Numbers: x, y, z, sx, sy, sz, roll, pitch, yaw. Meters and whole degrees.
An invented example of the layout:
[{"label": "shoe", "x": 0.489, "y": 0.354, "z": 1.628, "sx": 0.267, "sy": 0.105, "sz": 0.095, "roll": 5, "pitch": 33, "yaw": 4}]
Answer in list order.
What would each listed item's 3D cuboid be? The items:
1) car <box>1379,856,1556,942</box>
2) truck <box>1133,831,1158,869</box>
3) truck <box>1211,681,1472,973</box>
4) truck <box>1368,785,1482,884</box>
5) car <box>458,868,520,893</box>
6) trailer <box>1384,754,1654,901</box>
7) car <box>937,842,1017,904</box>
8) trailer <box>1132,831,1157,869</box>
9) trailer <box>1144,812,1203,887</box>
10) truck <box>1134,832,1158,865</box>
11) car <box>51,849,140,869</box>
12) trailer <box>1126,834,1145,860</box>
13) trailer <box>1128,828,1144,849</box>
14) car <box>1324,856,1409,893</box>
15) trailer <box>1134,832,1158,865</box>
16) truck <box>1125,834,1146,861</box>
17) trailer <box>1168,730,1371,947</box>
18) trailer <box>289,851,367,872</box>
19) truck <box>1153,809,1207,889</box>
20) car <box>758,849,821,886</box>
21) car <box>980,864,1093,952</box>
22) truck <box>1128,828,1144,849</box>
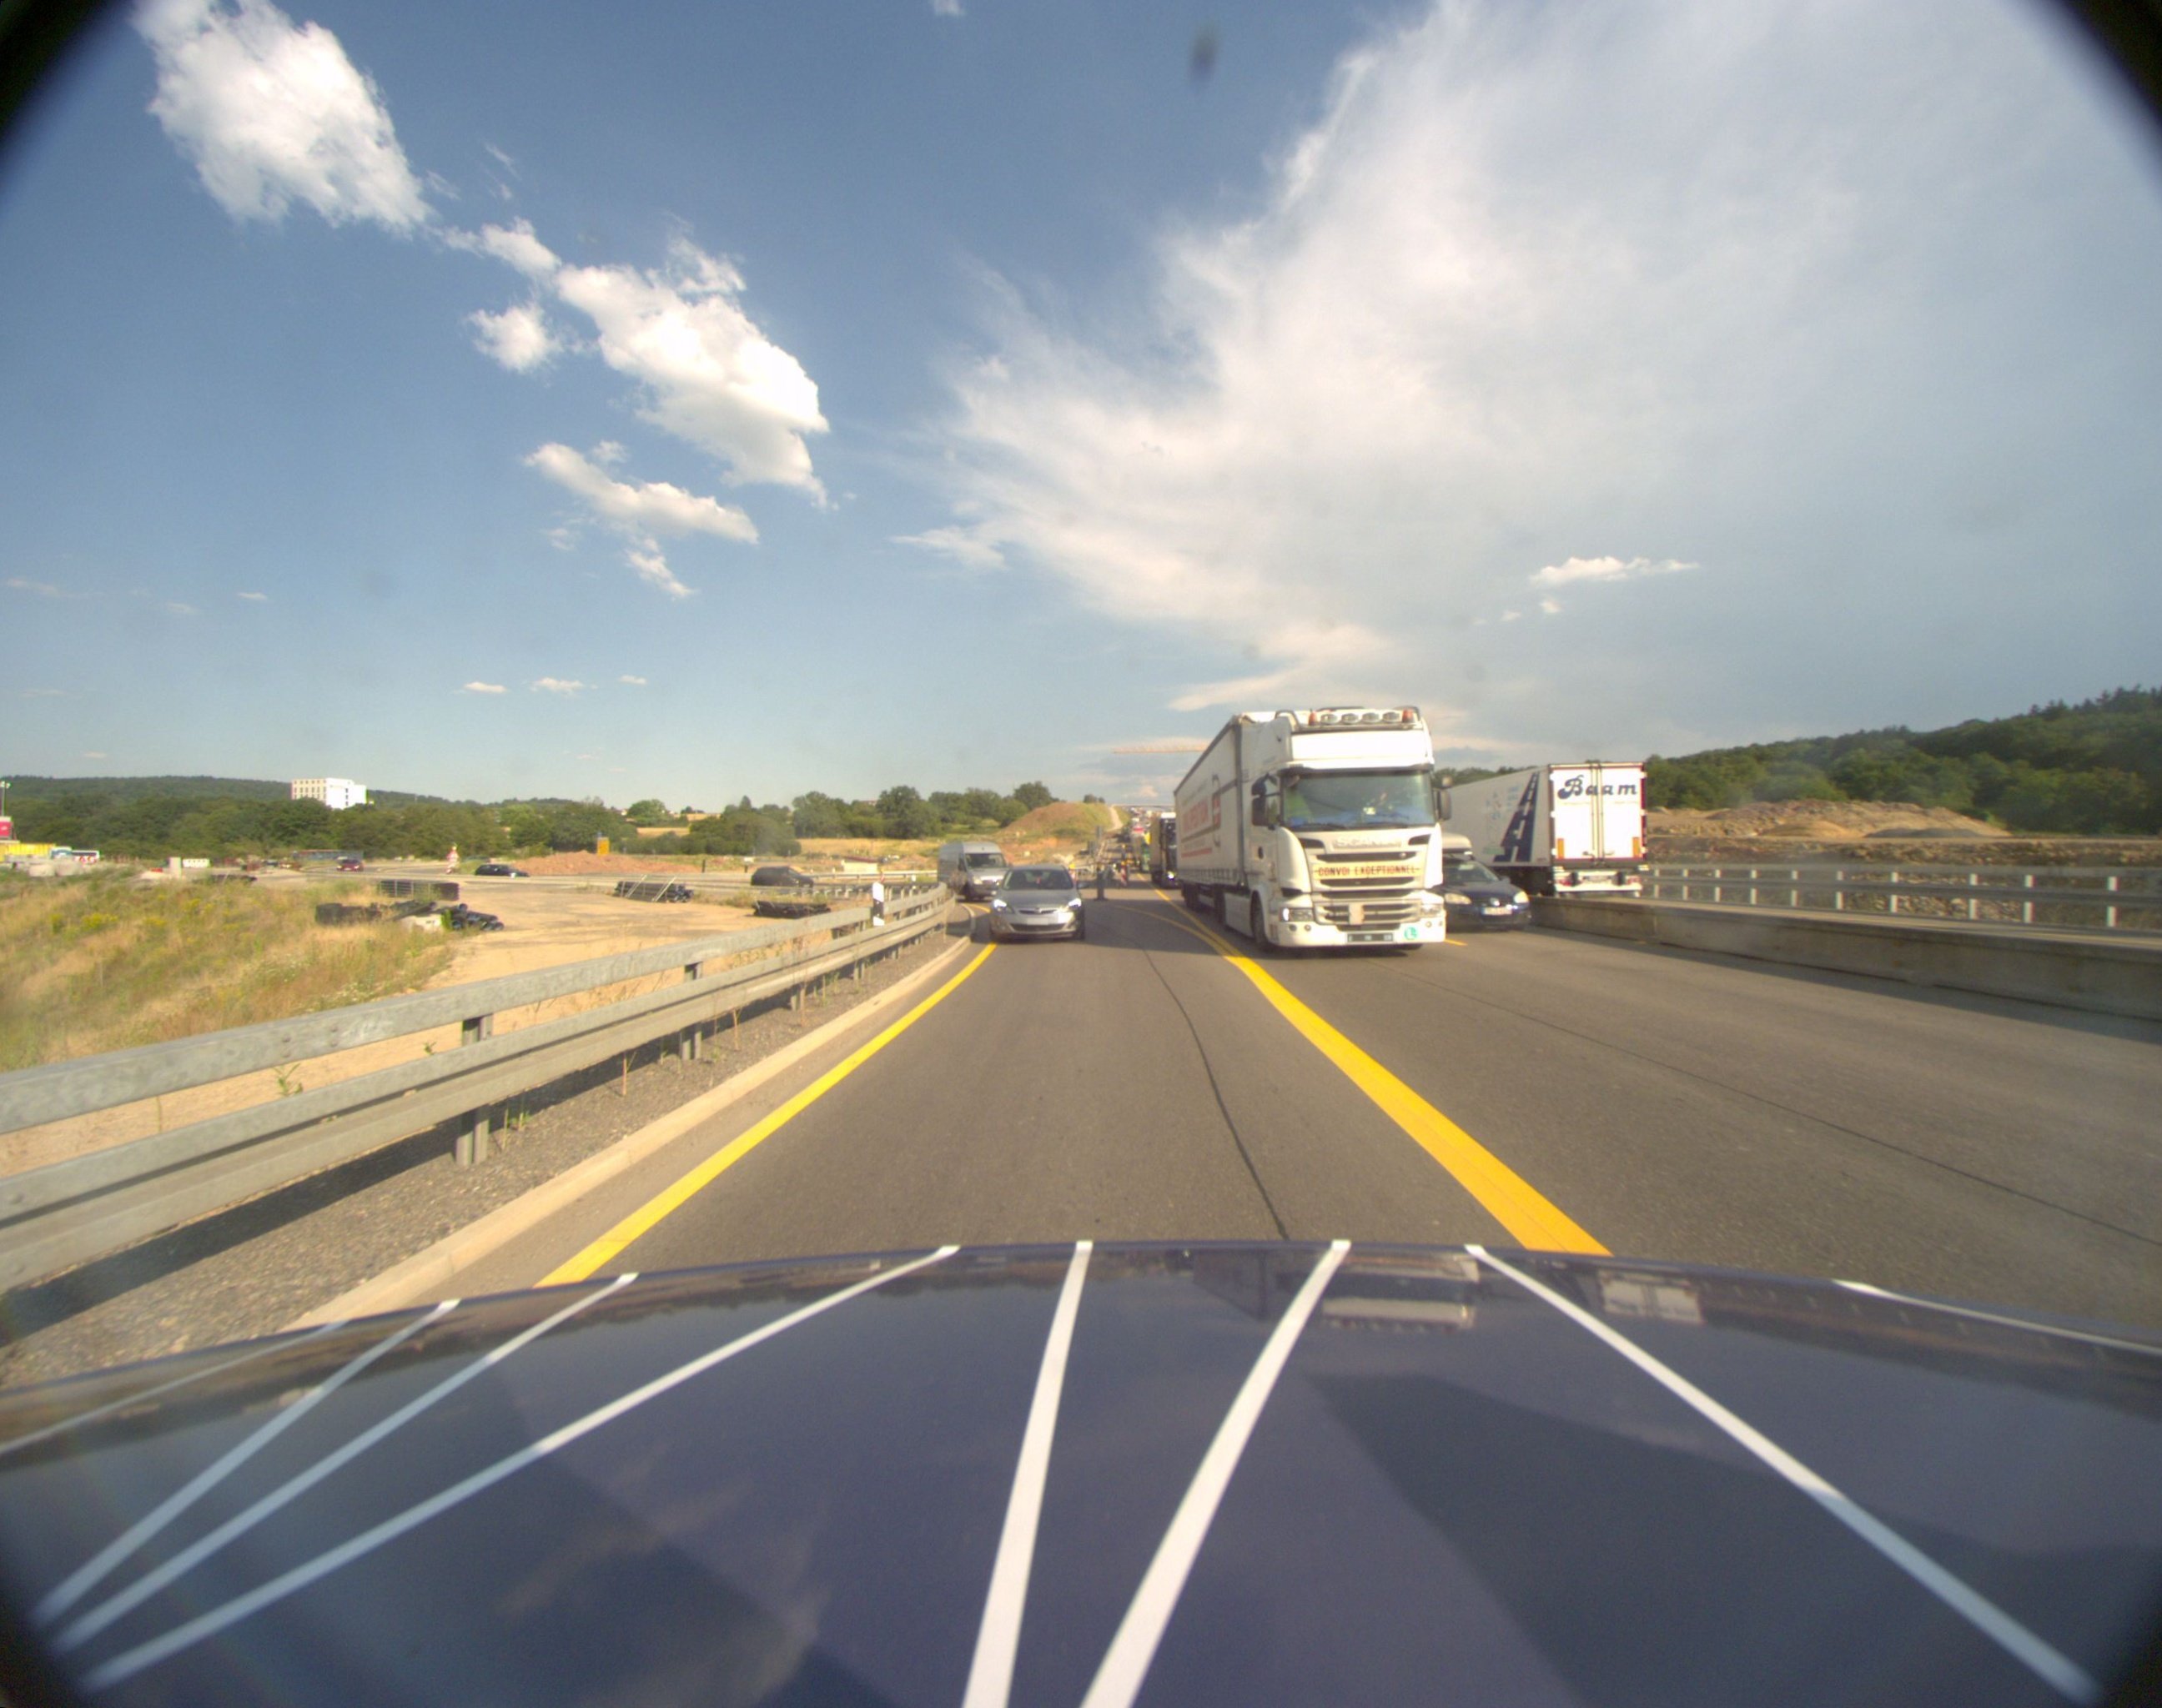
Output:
[{"label": "car", "x": 7.642, "y": 0.813, "z": 15.490, "sx": 1.825, "sy": 1.476, "sz": 3.920, "roll": -1, "pitch": 0, "yaw": 4}, {"label": "truck", "x": 6.675, "y": -0.432, "z": 79.649, "sx": 2.486, "sy": 3.879, "sz": 6.012, "roll": 0, "pitch": 1, "yaw": 4}, {"label": "truck", "x": 3.973, "y": -0.374, "z": 13.091, "sx": 2.486, "sy": 3.856, "sz": 6.011, "roll": -1, "pitch": 1, "yaw": 0}, {"label": "truck", "x": 15.306, "y": -0.822, "z": 34.336, "sx": 2.633, "sy": 4.043, "sz": 6.131, "roll": 1, "pitch": 1, "yaw": 4}, {"label": "car", "x": -47.108, "y": 2.101, "z": 60.472, "sx": 4.120, "sy": 1.776, "sz": 1.639, "roll": 1, "pitch": 1, "yaw": 11}, {"label": "trailer", "x": 14.894, "y": -0.797, "z": 28.033, "sx": 2.633, "sy": 4.043, "sz": 14.082, "roll": 1, "pitch": 1, "yaw": 4}, {"label": "car", "x": -4.697, "y": 0.719, "z": 33.501, "sx": 1.920, "sy": 2.486, "sz": 5.785, "roll": 1, "pitch": 1, "yaw": -24}, {"label": "trailer", "x": 7.072, "y": -0.482, "z": 85.508, "sx": 2.486, "sy": 3.936, "sz": 13.978, "roll": 0, "pitch": 1, "yaw": 4}, {"label": "trailer", "x": 5.574, "y": -0.319, "z": 47.931, "sx": 2.486, "sy": 4.038, "sz": 13.631, "roll": 0, "pitch": 1, "yaw": 2}, {"label": "truck", "x": 8.723, "y": -0.764, "z": 102.643, "sx": 3.110, "sy": 4.289, "sz": 6.898, "roll": 1, "pitch": 1, "yaw": 4}, {"label": "car", "x": -107.335, "y": 0.500, "z": 82.851, "sx": 2.482, "sy": 2.067, "sz": 5.326, "roll": 1, "pitch": 1, "yaw": 16}, {"label": "trailer", "x": 9.503, "y": -1.162, "z": 132.278, "sx": 3.110, "sy": 4.289, "sz": 14.255, "roll": 1, "pitch": 1, "yaw": 4}, {"label": "trailer", "x": 11.952, "y": -3.229, "z": 165.219, "sx": 3.110, "sy": 4.289, "sz": 14.255, "roll": 1, "pitch": 1, "yaw": 4}, {"label": "car", "x": 11.821, "y": 0.819, "z": 31.762, "sx": 1.912, "sy": 1.357, "sz": 4.453, "roll": 1, "pitch": 1, "yaw": 1}, {"label": "trailer", "x": 9.159, "y": -0.805, "z": 108.831, "sx": 3.110, "sy": 4.289, "sz": 14.255, "roll": 1, "pitch": 1, "yaw": 4}, {"label": "truck", "x": 8.892, "y": -1.037, "z": 124.012, "sx": 3.110, "sy": 4.289, "sz": 6.898, "roll": 1, "pitch": 1, "yaw": 4}, {"label": "trailer", "x": 4.157, "y": -0.328, "z": 20.419, "sx": 2.486, "sy": 3.856, "sz": 13.631, "roll": 0, "pitch": 1, "yaw": 2}, {"label": "trailer", "x": -93.877, "y": 0.898, "z": 94.911, "sx": 3.013, "sy": 2.400, "sz": 7.224, "roll": 0, "pitch": 1, "yaw": -5}, {"label": "truck", "x": 5.298, "y": -0.259, "z": 41.434, "sx": 2.486, "sy": 4.037, "sz": 6.012, "roll": 0, "pitch": 1, "yaw": 4}, {"label": "car", "x": -19.740, "y": 0.872, "z": 51.396, "sx": 3.988, "sy": 2.389, "sz": 1.880, "roll": 1, "pitch": 1, "yaw": 30}, {"label": "car", "x": -0.755, "y": 0.987, "z": 15.494, "sx": 1.747, "sy": 1.476, "sz": 4.253, "roll": -1, "pitch": 0, "yaw": 4}, {"label": "truck", "x": 11.375, "y": -3.149, "z": 157.949, "sx": 3.110, "sy": 4.289, "sz": 6.898, "roll": 1, "pitch": 1, "yaw": 4}]
